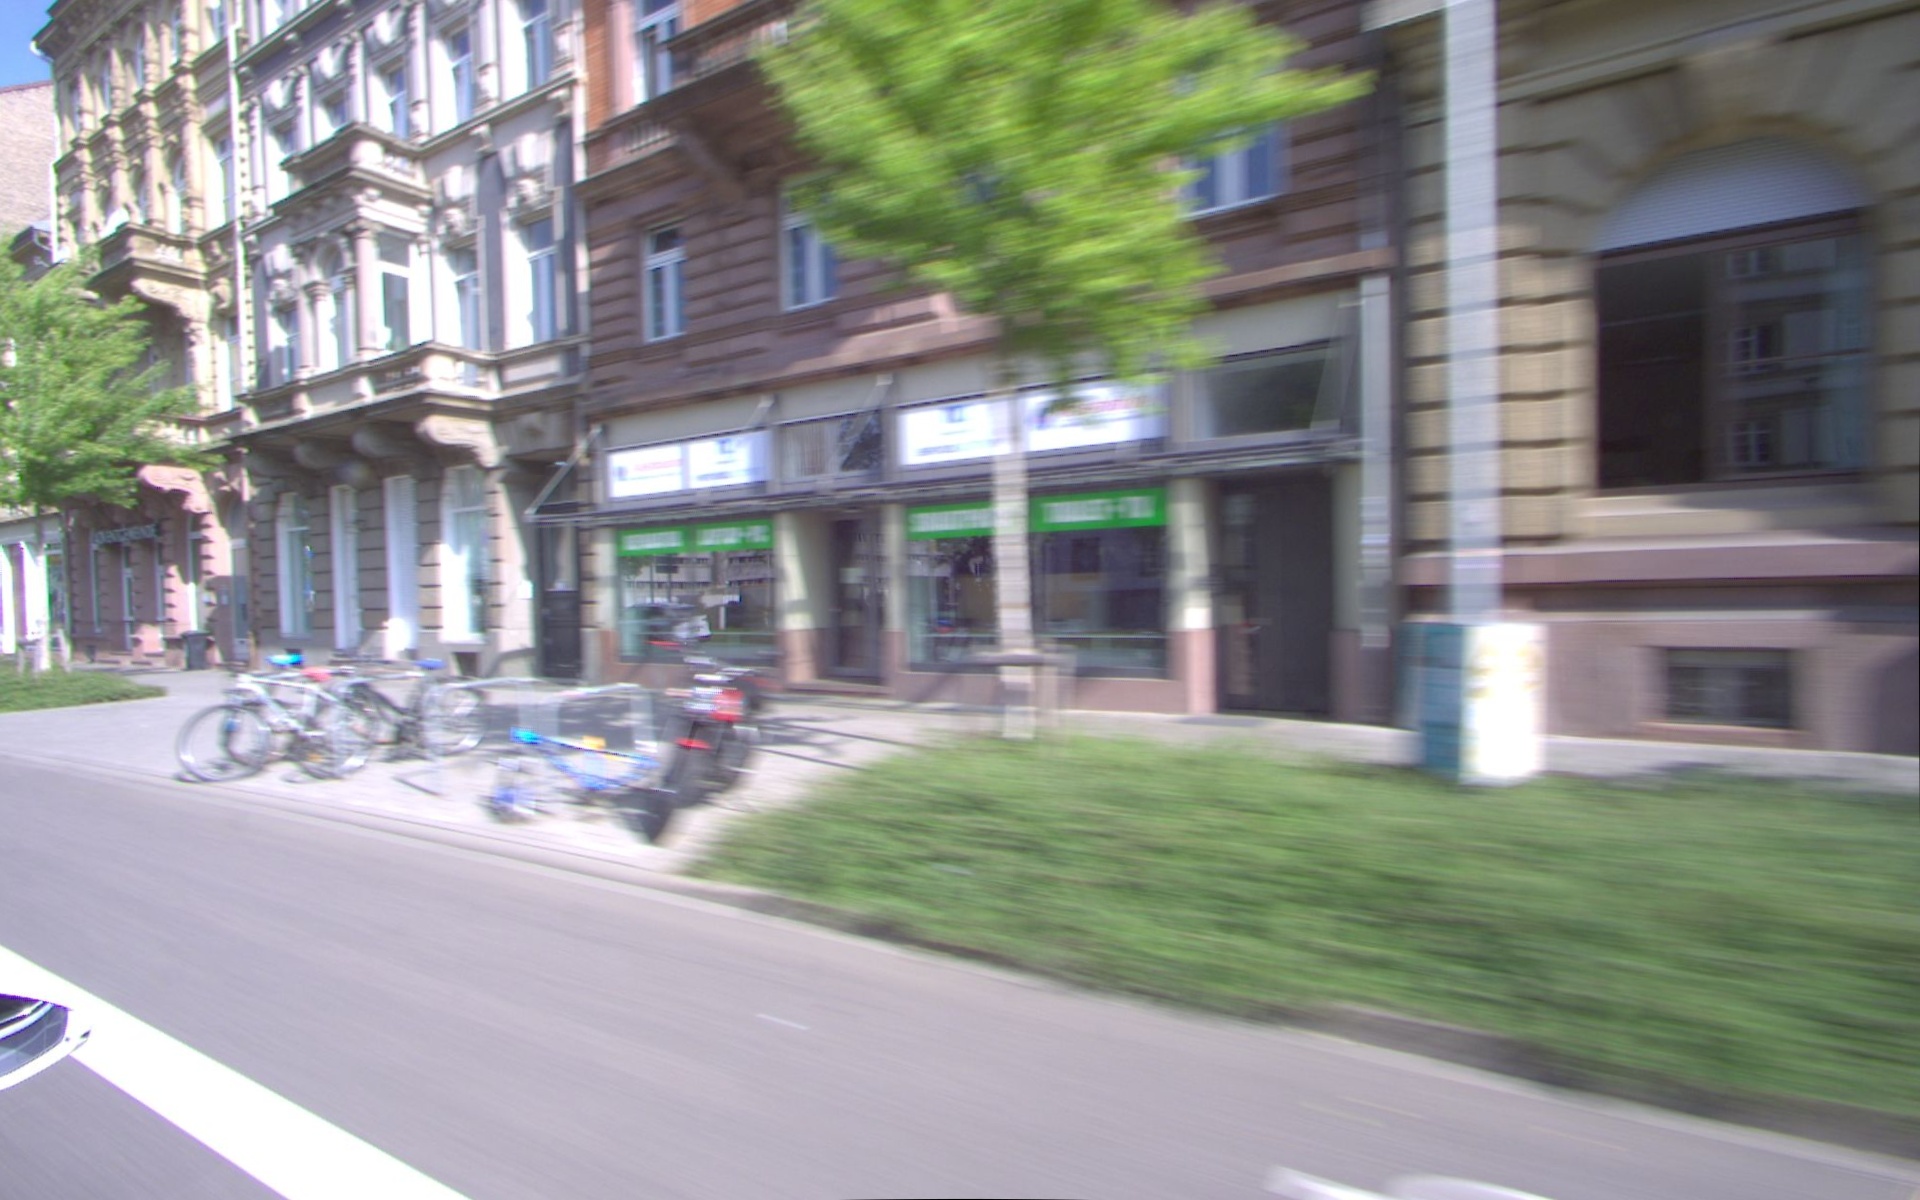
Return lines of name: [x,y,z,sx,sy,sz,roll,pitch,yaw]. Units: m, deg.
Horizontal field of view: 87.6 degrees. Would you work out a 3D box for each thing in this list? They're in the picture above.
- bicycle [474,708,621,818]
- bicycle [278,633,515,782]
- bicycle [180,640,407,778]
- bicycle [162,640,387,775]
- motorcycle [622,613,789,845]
bicycle: [-3.050,1.187,7.451,0.355,0.618,0.955,0,3,33]
bicycle: [-5.137,0.922,9.265,0.661,1.111,1.804,0,3,27]
bicycle: [-6.288,0.985,9.566,0.367,1.068,1.780,0,3,31]
bicycle: [-6.620,0.992,9.784,0.367,1.068,1.780,0,3,31]
motorcycle: [-1.722,0.801,7.126,0.691,1.305,2.040,-1,2,-2]
